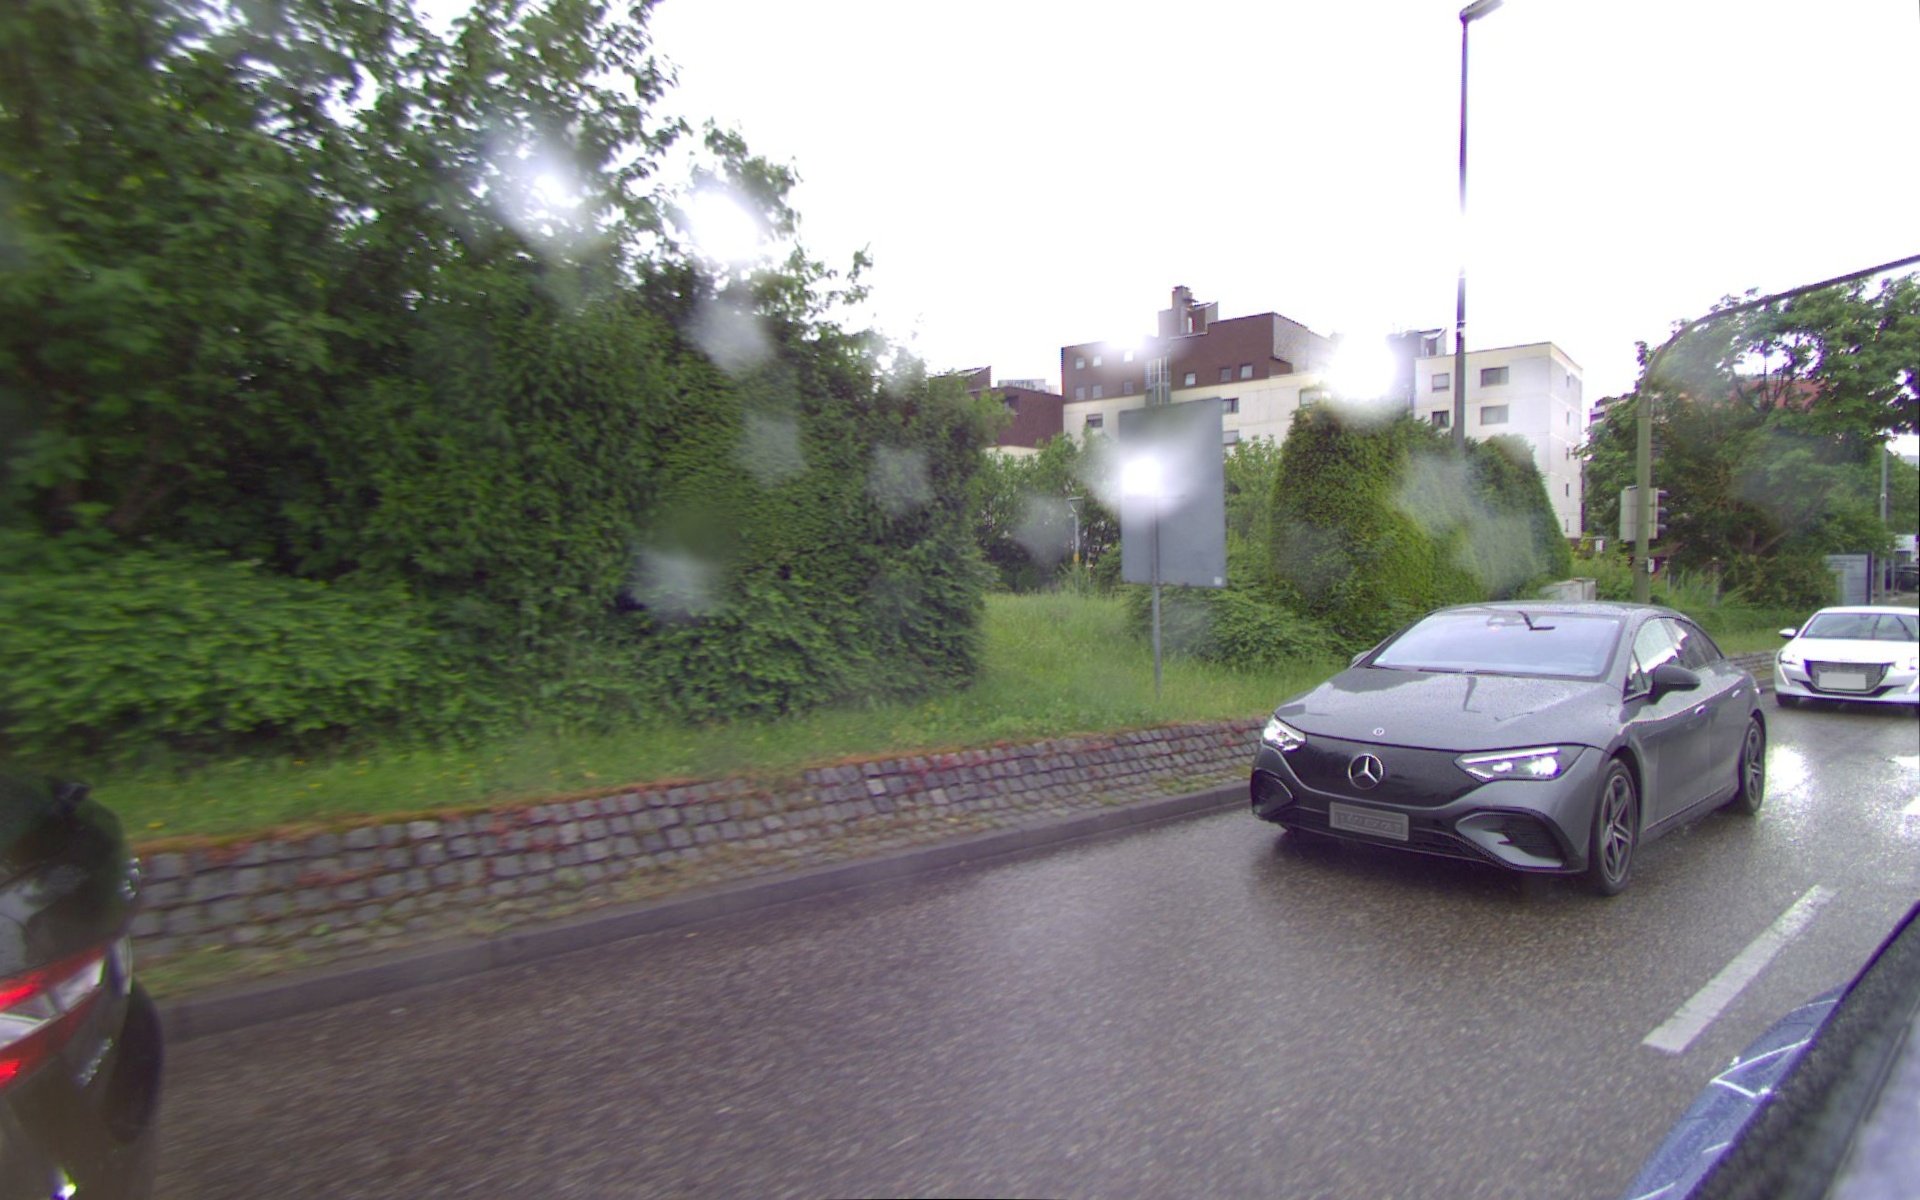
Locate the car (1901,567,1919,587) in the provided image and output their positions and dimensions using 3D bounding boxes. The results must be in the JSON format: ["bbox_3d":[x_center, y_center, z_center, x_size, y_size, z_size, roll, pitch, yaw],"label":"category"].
[{"bbox_3d":[71.222,-1.739,73.584,3.983,1.438,1.971,0,1,42],"label":"car"}]

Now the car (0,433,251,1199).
[{"bbox_3d":[-3.320,0.617,0.649,4.529,1.526,1.957,-1,0,-41],"label":"car"}]

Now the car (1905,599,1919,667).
[{"bbox_3d":[22.099,0.668,22.066,3.668,1.394,1.717,-1,0,-39],"label":"car"}]

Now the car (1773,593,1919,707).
[{"bbox_3d":[13.442,0.632,14.735,3.964,1.415,1.717,-1,0,-39],"label":"car"}]

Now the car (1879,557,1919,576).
[{"bbox_3d":[71.821,-2.534,76.041,3.983,1.438,1.678,0,1,42],"label":"car"}]

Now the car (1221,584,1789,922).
[{"bbox_3d":[3.800,0.656,6.650,4.472,1.462,1.834,-1,0,-41],"label":"car"}]
